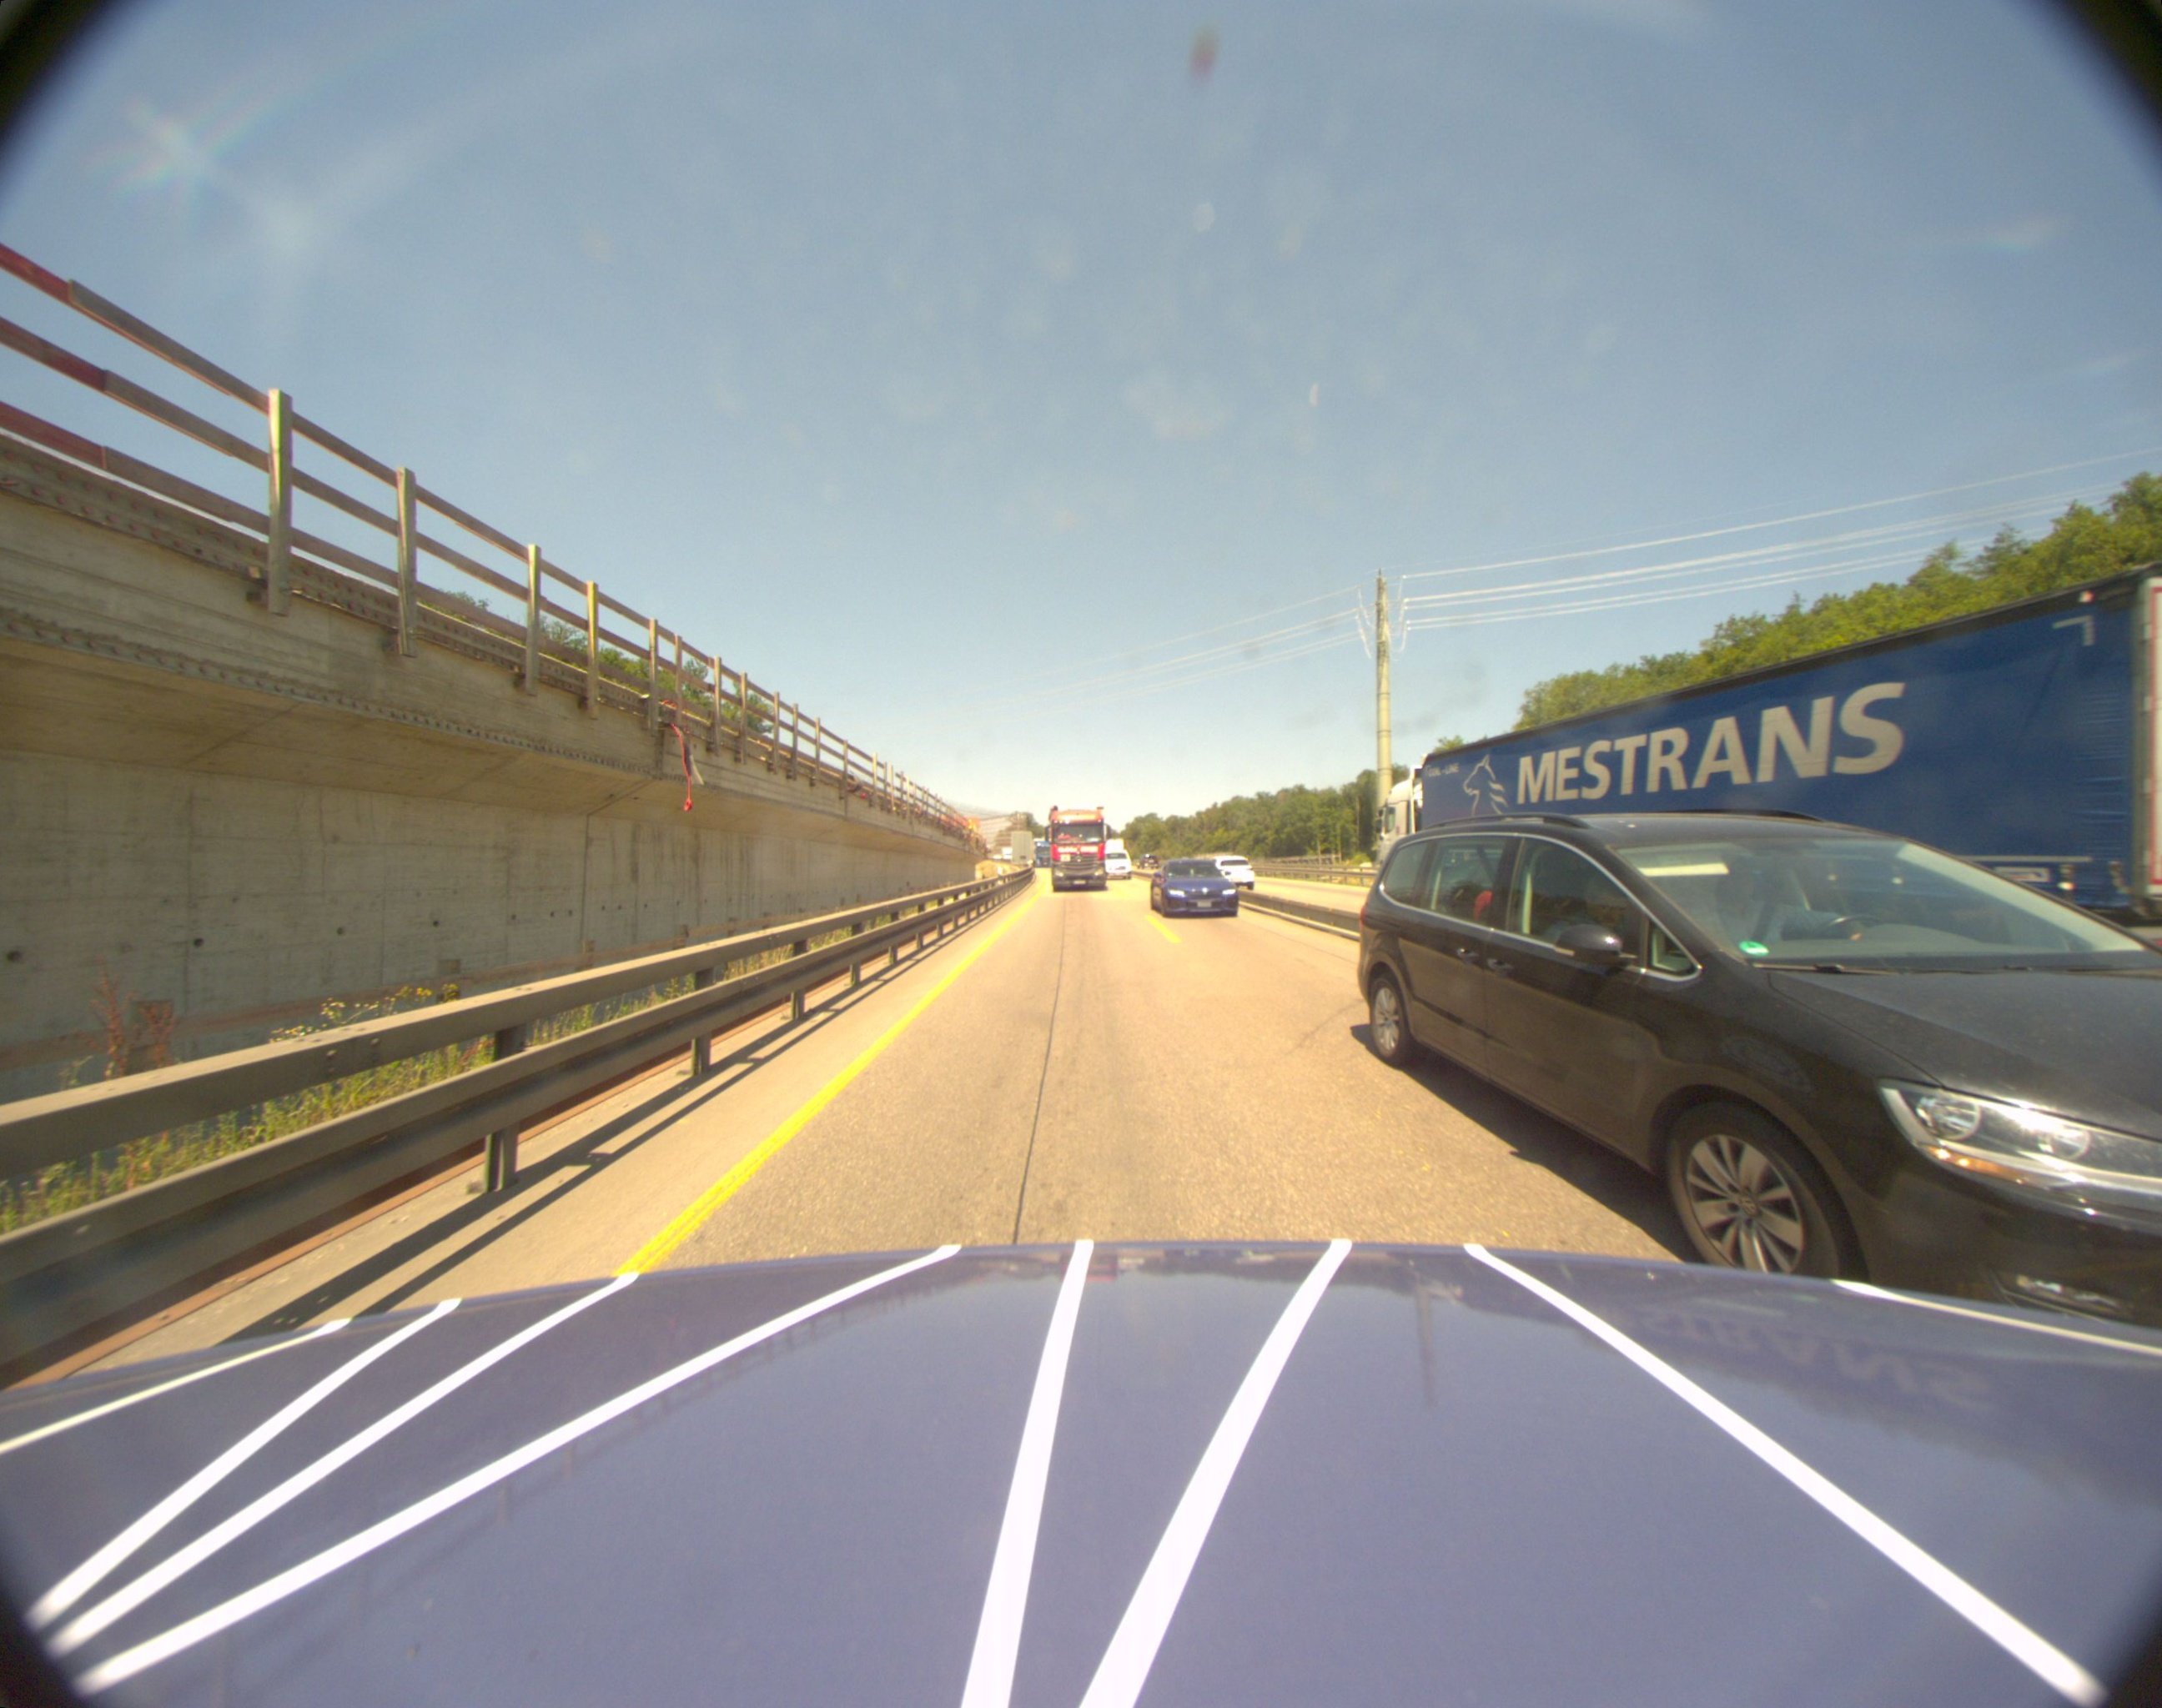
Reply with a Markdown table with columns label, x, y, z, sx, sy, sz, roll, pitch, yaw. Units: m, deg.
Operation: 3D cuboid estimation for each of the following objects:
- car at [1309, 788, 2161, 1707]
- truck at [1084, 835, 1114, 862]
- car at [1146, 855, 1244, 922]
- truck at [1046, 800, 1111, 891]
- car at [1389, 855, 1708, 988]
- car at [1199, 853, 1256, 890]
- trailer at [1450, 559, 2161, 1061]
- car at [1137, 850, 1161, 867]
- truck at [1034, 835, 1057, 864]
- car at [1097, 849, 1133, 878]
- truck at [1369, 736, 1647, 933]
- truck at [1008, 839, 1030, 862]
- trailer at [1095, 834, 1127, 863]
| label | x | y | z | sx | sy | sz | roll | pitch | yaw |
| --- | --- | --- | --- | --- | --- | --- | --- | --- | --- |
| car | 2.917 | 0.719 | 3.982 | 1.861 | 1.695 | 5.303 | -1 | 0 | 0 |
| truck | 2.834 | -0.801 | 124.268 | 2.988 | 4.138 | 10.536 | -1 | 0 | -9 |
| car | 2.887 | 0.827 | 20.286 | 1.896 | 1.546 | 4.786 | -1 | 0 | 0 |
| truck | -0.220 | -0.481 | 38.793 | 2.798 | 3.986 | 10.425 | -1 | 1 | -1 |
| car | 6.434 | 0.804 | 11.231 | 1.855 | 1.537 | 4.558 | -1 | 0 | -1 |
| car | 6.415 | 0.743 | 33.658 | 1.675 | 1.526 | 4.190 | -1 | 0 | -1 |
| trailer | 10.271 | -0.363 | 11.924 | 3.143 | 4.055 | 11.818 | -1 | 0 | 0 |
| car | 7.673 | 0.492 | 85.816 | 1.911 | 1.732 | 4.659 | -1 | 1 | -4 |
| truck | -5.221 | -0.654 | 110.742 | 2.673 | 3.985 | 10.423 | -1 | 0 | -6 |
| car | 2.259 | 0.625 | 51.945 | 1.947 | 1.858 | 5.222 | -1 | 0 | -3 |
| truck | 10.218 | -0.404 | 19.299 | 3.143 | 4.055 | 6.879 | -1 | 0 | 0 |
| truck | -12.068 | -0.762 | 147.611 | 2.913 | 4.208 | 9.228 | -1 | 1 | -13 |
| trailer | 4.465 | -0.847 | 114.686 | 3.013 | 4.141 | 9.009 | -2 | 0 | -9 |
